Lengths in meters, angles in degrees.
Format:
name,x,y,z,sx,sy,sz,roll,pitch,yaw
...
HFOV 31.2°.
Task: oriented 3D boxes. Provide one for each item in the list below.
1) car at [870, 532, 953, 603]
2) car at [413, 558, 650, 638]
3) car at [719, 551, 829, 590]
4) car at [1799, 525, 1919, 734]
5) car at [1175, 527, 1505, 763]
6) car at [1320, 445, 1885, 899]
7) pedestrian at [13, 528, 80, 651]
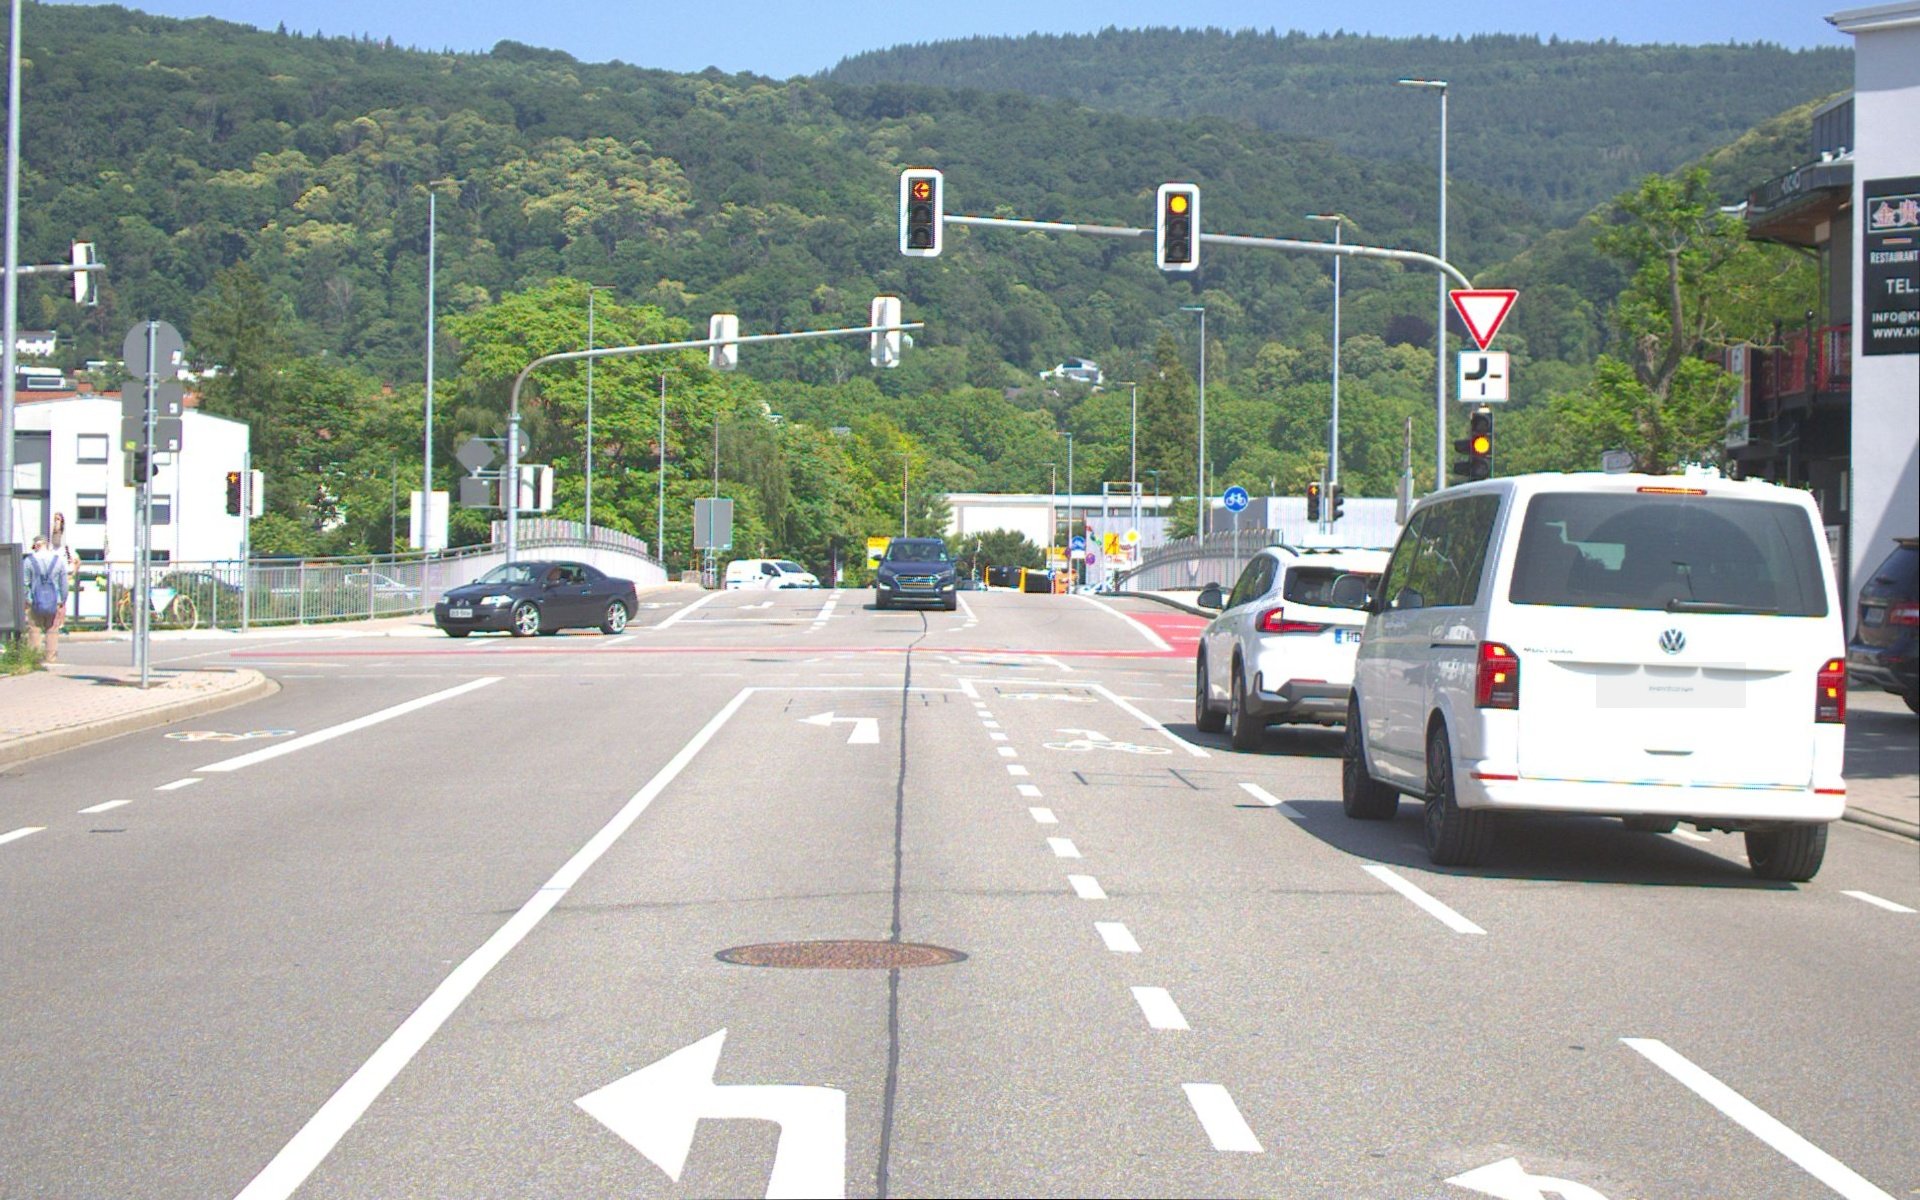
name,x,y,z,sx,sy,sz,roll,pitch,yaw
car,-1.109,-0.766,79.326,1.849,1.583,4.000,1,1,-1
car,-7.701,-0.057,62.183,1.997,1.365,4.319,1,1,31
car,-7.852,-1.250,144.891,4.456,1.583,1.852,1,1,35
car,9.535,0.253,30.102,3.988,1.769,2.000,1,1,5
car,2.993,0.302,28.072,1.934,1.681,4.545,3,1,-2
car,3.226,0.287,18.250,1.934,2.052,4.545,2,1,-2
pedestrian,-11.730,-0.141,44.173,0.698,1.568,0.676,1,1,-3
